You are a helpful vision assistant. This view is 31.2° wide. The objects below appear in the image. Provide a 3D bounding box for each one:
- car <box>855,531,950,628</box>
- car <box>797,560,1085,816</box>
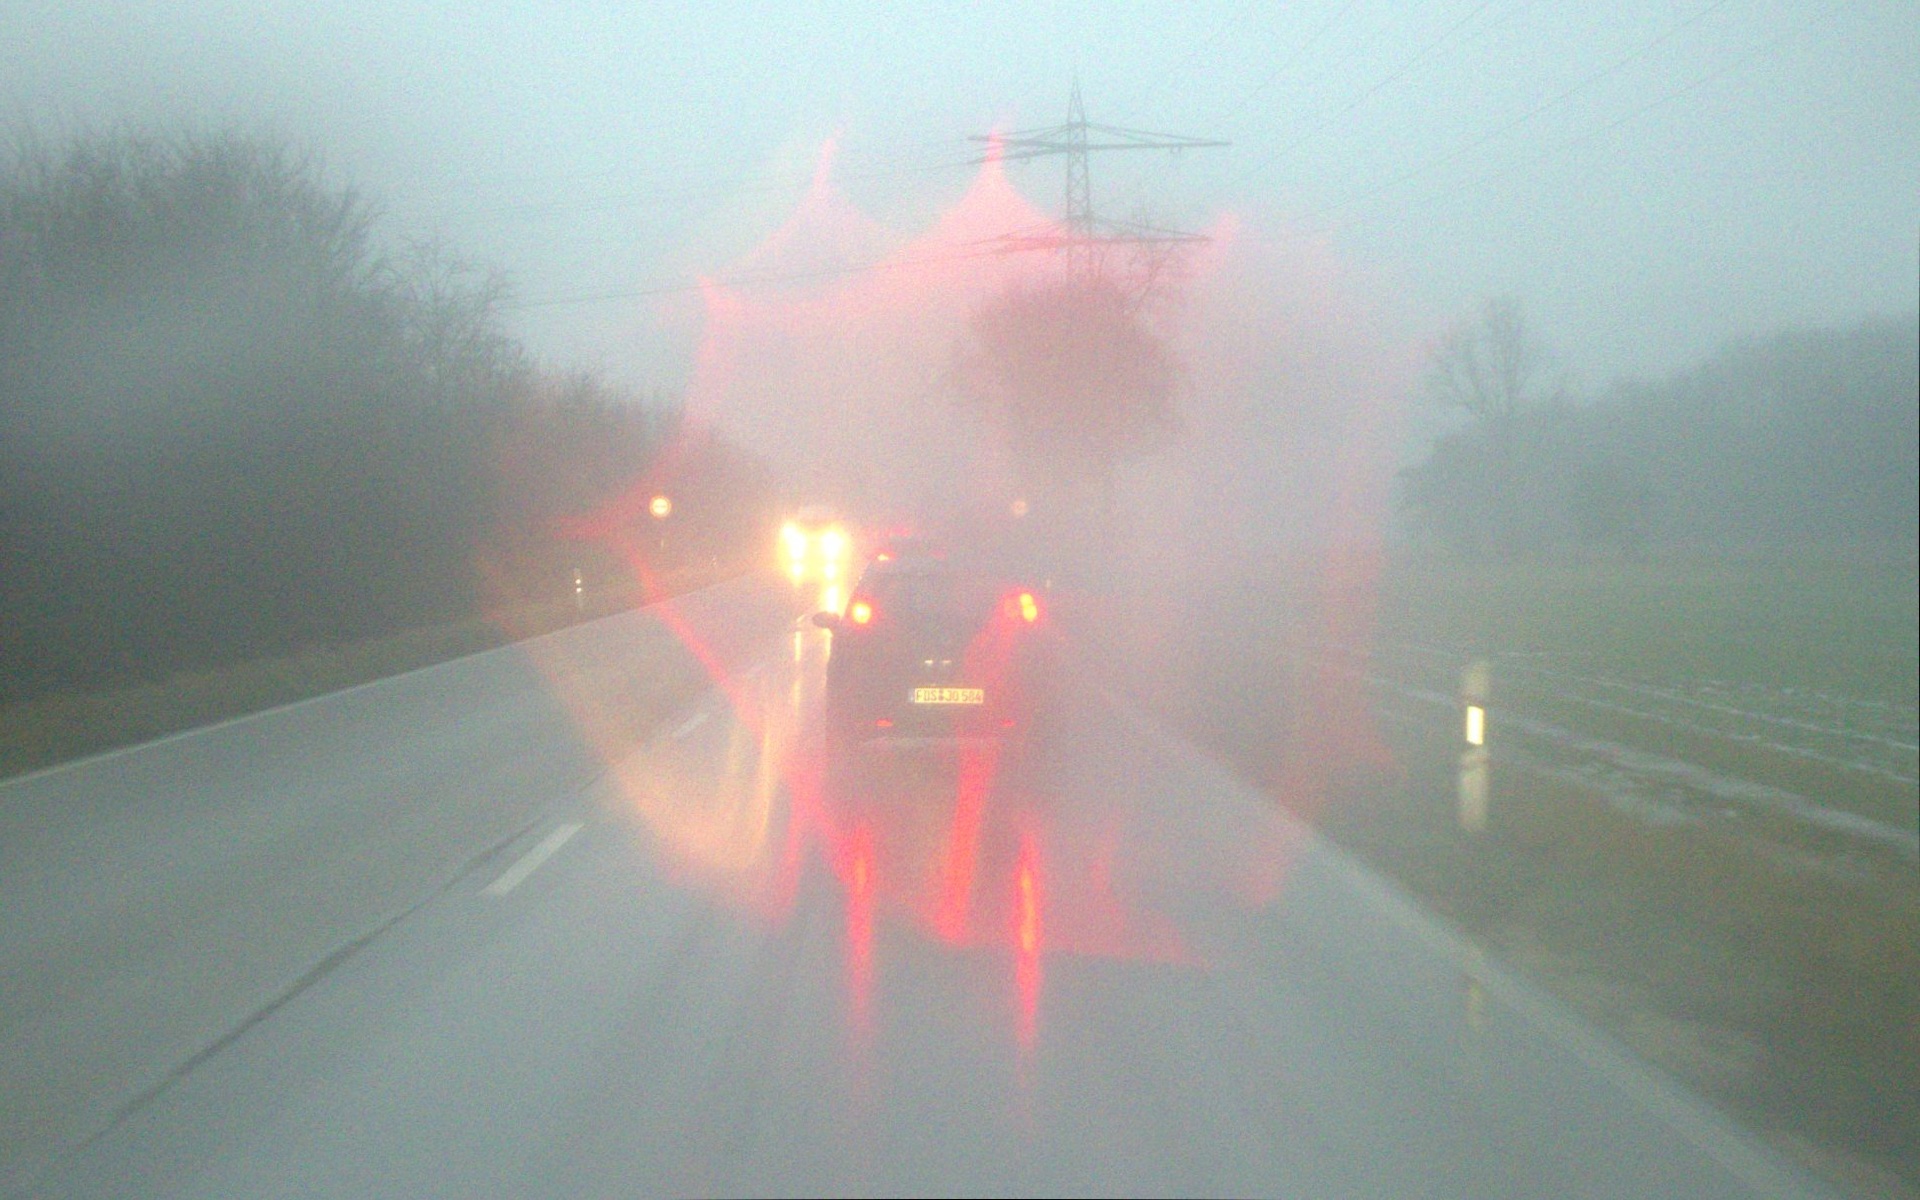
[{"bbox_3d":[-1.223,-0.474,74.432,1.993,2.006,4.000,0,2,0],"label":"car"},{"bbox_3d":[-0.162,0.588,25.882,1.993,1.746,4.000,0,1,-1],"label":"car"}]
